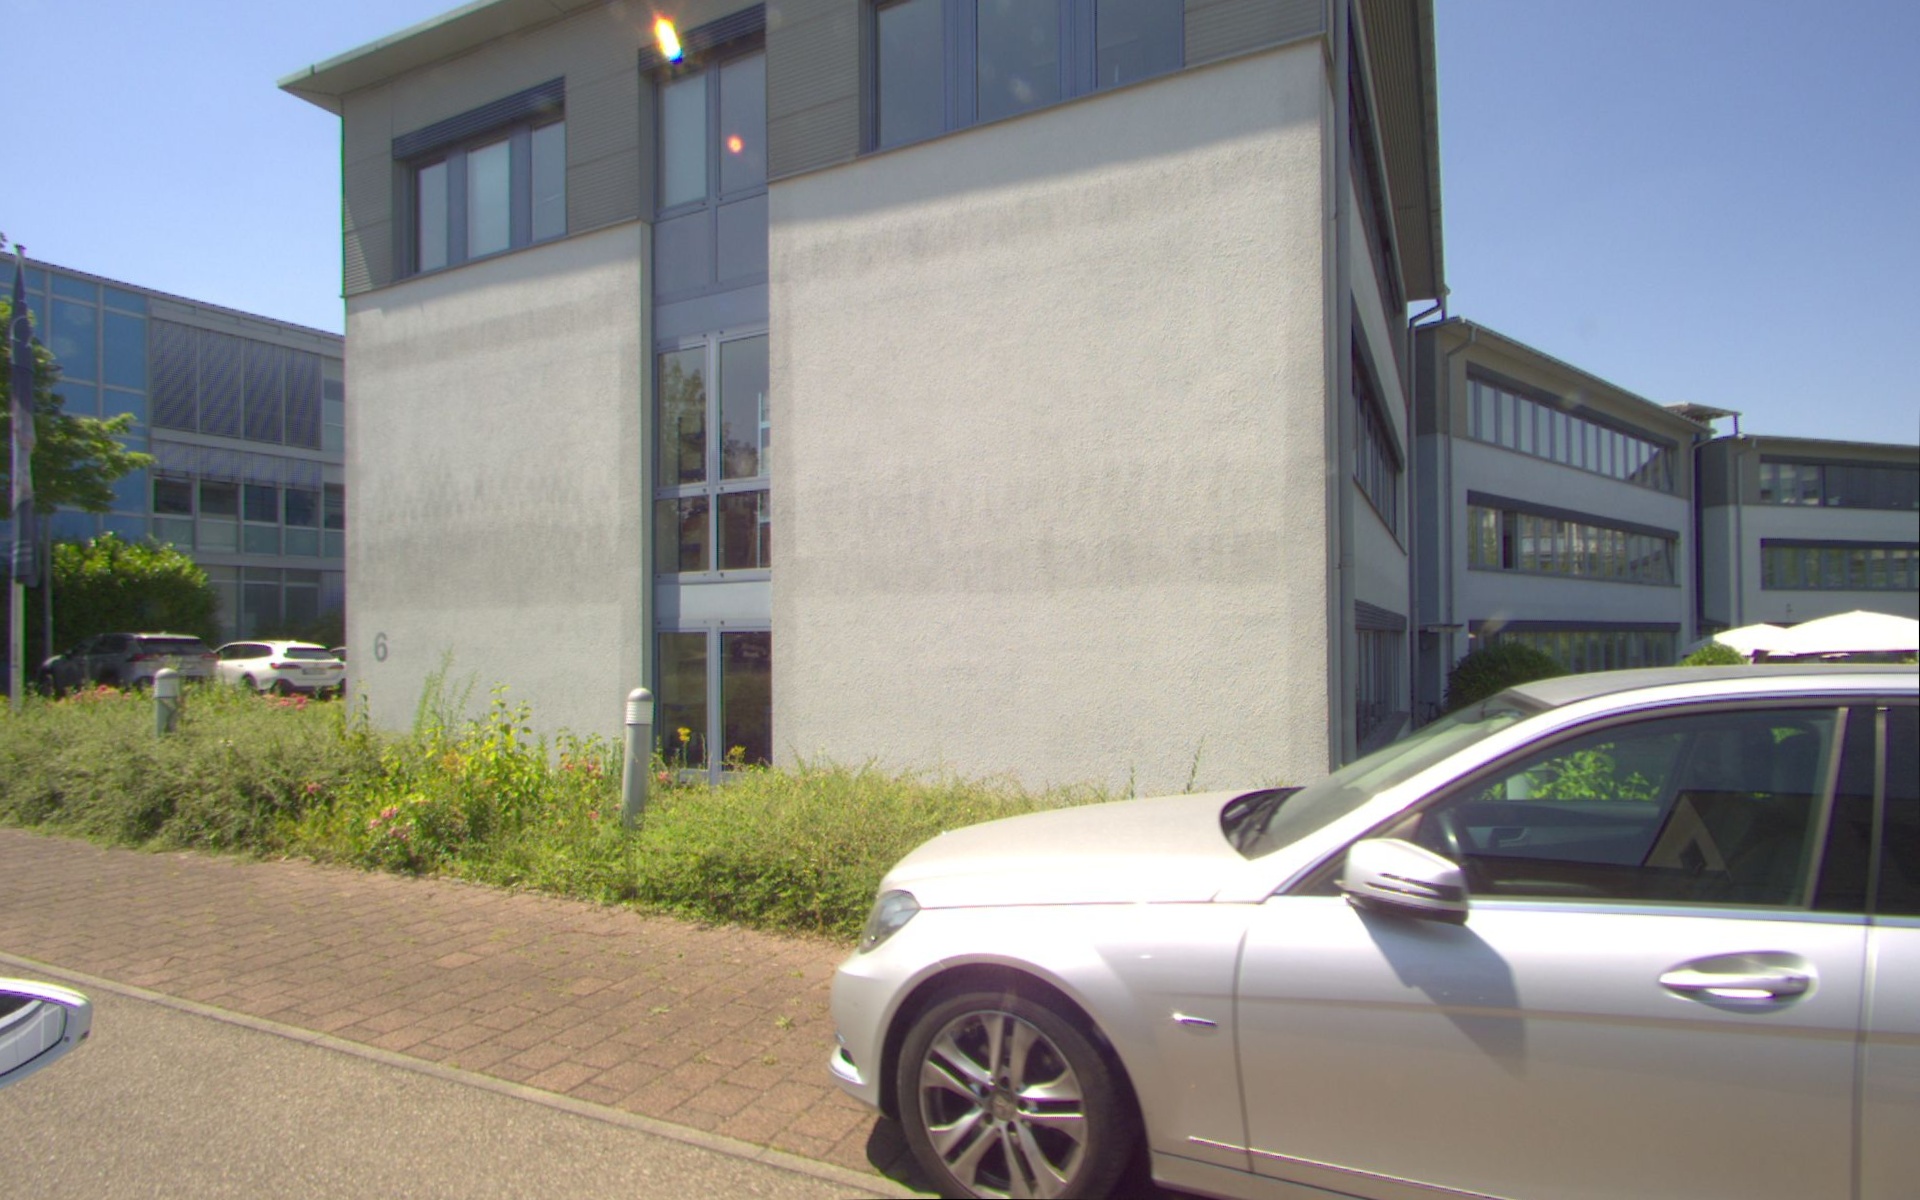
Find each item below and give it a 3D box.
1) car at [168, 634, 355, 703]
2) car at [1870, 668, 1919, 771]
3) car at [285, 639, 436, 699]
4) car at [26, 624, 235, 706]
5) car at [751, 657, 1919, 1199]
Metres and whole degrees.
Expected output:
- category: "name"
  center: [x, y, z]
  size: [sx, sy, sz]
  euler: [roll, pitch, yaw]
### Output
- category: "car"
  center: [-17.313, 1.663, 24.812]
  size: [4.265, 1.510, 1.739]
  euler: [0, -3, 23]
- category: "car"
  center: [16.550, 1.806, 14.538]
  size: [4.536, 1.512, 1.853]
  euler: [0, -3, 24]
- category: "car"
  center: [-16.287, 1.841, 27.164]
  size: [4.277, 1.447, 1.734]
  euler: [0, -3, 32]
- category: "car"
  center: [-18.725, 1.421, 22.603]
  size: [4.265, 1.640, 1.822]
  euler: [0, -2, 23]
- category: "car"
  center: [1.750, 0.882, 2.625]
  size: [4.350, 1.415, 1.799]
  euler: [-1, -3, 27]
